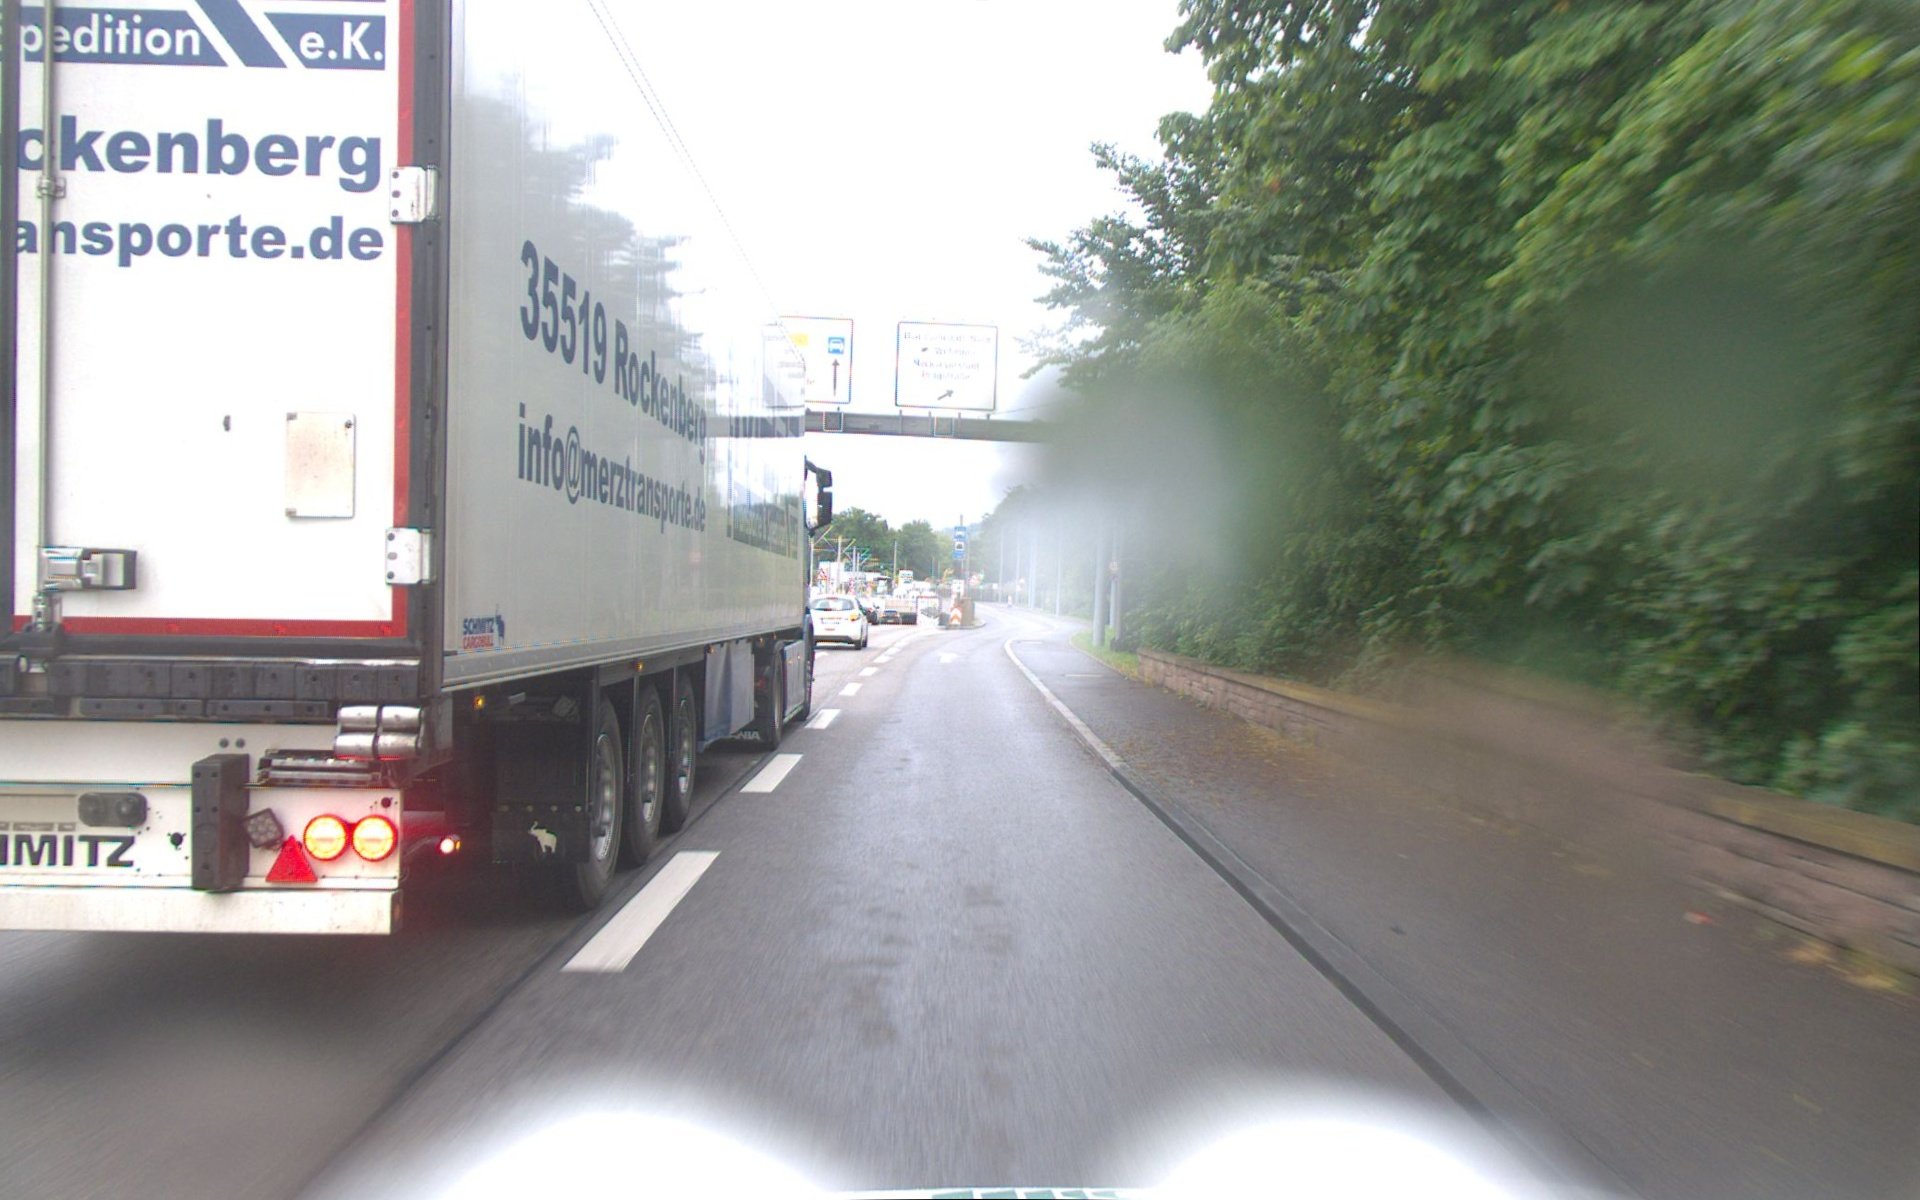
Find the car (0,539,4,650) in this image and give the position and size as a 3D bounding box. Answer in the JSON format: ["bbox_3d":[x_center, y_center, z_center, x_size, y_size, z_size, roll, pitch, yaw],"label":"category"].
[{"bbox_3d":[-17.400,-0.112,25.837,1.953,1.906,5.191,2,0,-1],"label":"car"}]

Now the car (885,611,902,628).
[{"bbox_3d":[-5.543,1.607,138.026,1.397,1.378,2.959,2,0,-1],"label":"car"}]

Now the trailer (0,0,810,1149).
[{"bbox_3d":[-2.873,-0.675,11.197,2.706,4.327,13.180,0,0,-1],"label":"trailer"}]

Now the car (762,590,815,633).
[{"bbox_3d":[-6.570,0.418,63.636,1.647,1.471,4.000,1,2,-1],"label":"car"}]

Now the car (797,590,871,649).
[{"bbox_3d":[-3.458,0.505,45.947,1.773,1.448,4.000,1,2,-1],"label":"car"}]

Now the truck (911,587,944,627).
[{"bbox_3d":[-3.527,0.748,179.394,3.447,4.110,8.072,1,0,-1],"label":"truck"}]

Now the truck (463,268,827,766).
[{"bbox_3d":[-2.975,-0.734,17.466,2.700,4.278,6.305,0,0,-1],"label":"truck"}]
